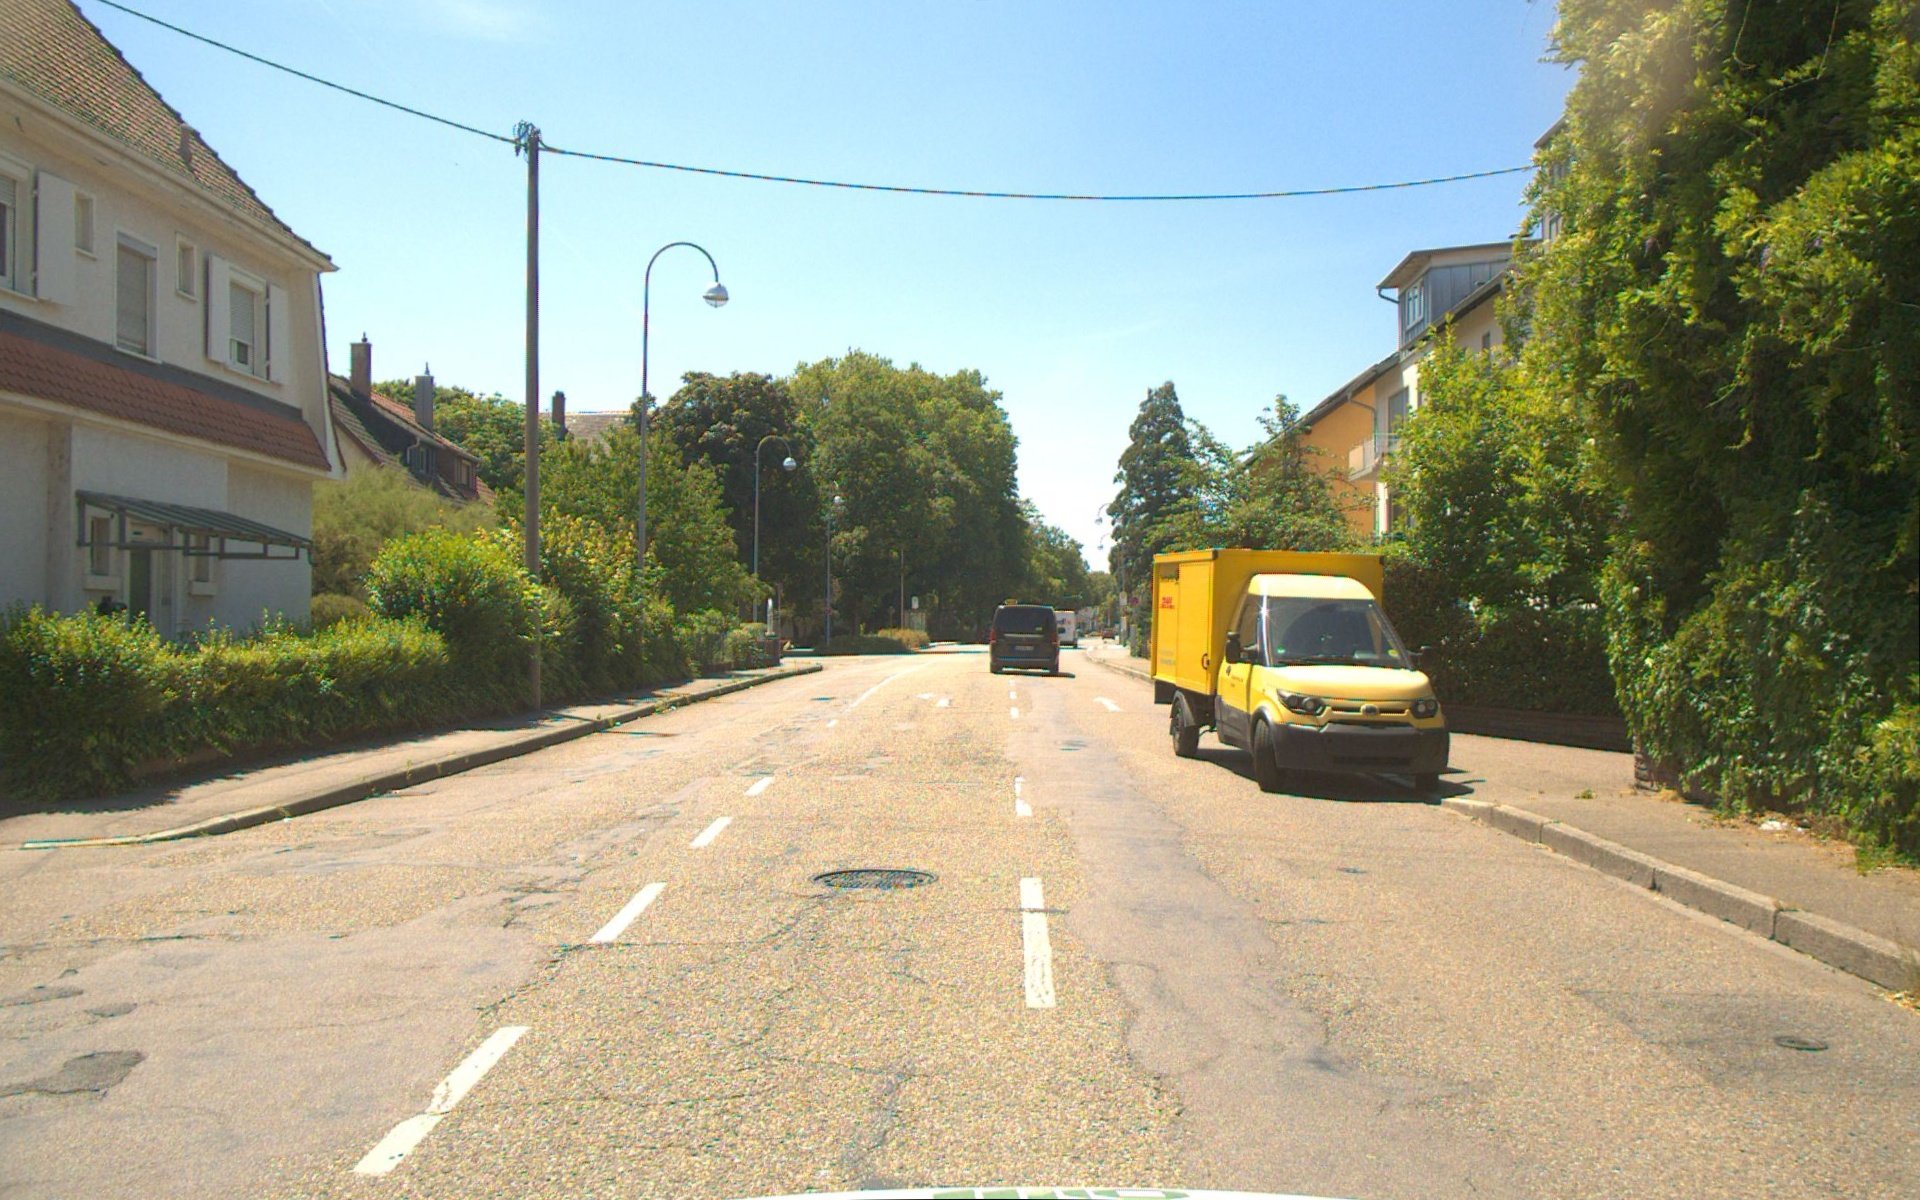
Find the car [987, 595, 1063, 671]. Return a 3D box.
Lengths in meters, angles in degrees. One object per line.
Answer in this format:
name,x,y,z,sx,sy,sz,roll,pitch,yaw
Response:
car,1.741,0.877,45.302,1.952,1.926,4.000,1,0,1

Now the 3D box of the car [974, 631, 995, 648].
car,2.177,3.485,146.474,1.518,1.476,3.692,1,-1,5

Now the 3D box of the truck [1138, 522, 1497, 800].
truck,3.452,0.551,17.480,1.974,2.349,6.170,2,0,-4

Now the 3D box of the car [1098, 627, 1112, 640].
car,19.773,4.593,225.518,1.818,1.672,4.002,1,0,3

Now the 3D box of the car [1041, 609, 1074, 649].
car,6.945,2.049,117.480,2.075,2.725,5.665,1,0,5
